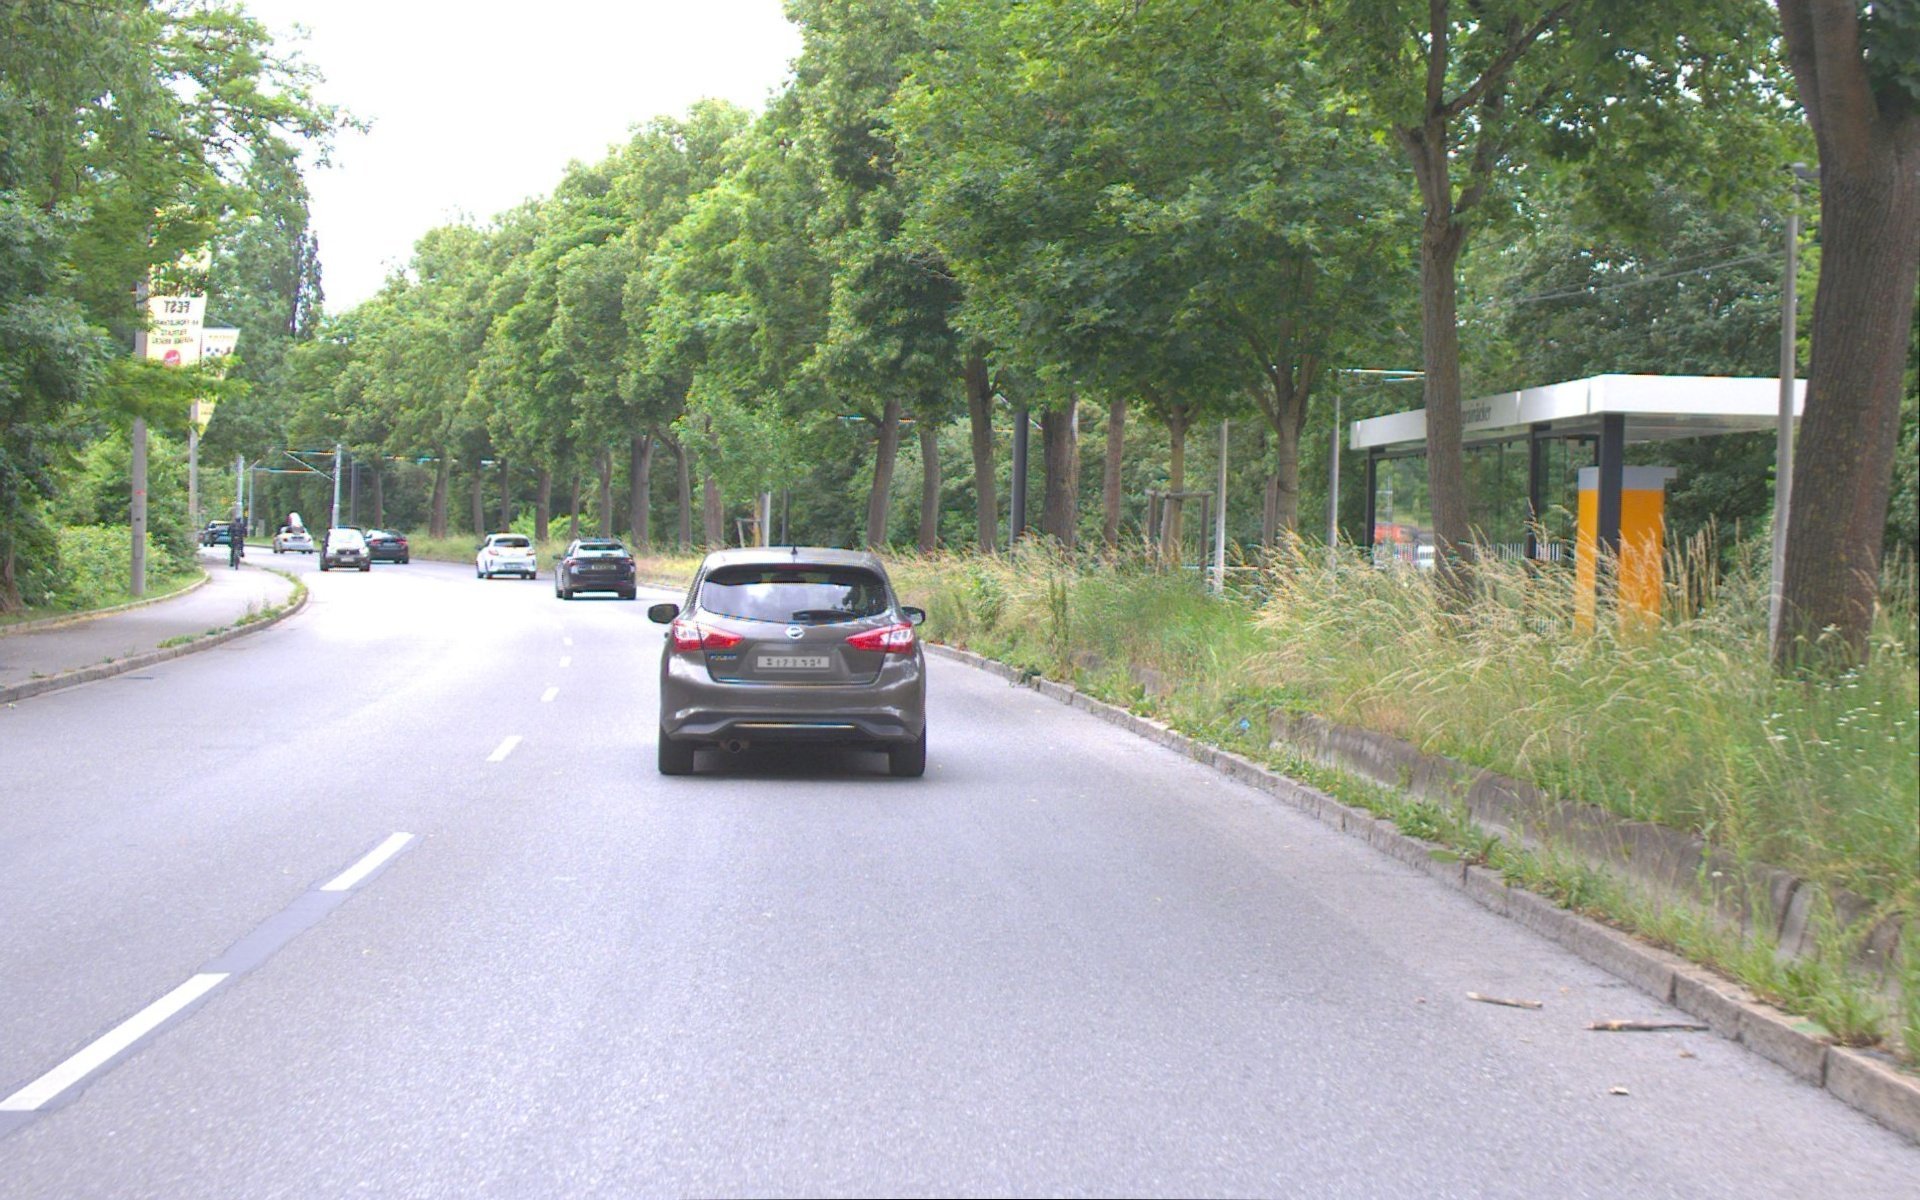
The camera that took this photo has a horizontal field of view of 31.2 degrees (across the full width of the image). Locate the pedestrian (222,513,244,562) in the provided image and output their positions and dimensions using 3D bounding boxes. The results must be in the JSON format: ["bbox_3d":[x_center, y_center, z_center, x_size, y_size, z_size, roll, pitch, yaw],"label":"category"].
[{"bbox_3d":[-23.958,-2.073,113.344,0.617,1.566,0.849,3,1,-13],"label":"pedestrian"}]

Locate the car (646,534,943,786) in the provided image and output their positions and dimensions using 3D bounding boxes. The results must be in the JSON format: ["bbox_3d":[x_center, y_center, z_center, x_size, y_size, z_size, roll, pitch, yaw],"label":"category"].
[{"bbox_3d":[-1.229,0.347,23.793,1.815,1.503,4.001,1,2,-6],"label":"car"}]

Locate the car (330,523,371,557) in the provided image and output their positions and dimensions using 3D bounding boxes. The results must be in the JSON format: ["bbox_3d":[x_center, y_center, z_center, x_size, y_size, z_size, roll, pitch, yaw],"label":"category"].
[{"bbox_3d":[-28.656,-2.831,161.697,1.775,1.467,4.001,2,2,-9],"label":"car"}]

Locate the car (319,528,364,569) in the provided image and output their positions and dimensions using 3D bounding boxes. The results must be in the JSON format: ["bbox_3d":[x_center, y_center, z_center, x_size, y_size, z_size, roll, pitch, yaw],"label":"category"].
[{"bbox_3d":[-22.672,-1.898,126.051,1.595,1.500,3.029,0,1,-10],"label":"car"}]

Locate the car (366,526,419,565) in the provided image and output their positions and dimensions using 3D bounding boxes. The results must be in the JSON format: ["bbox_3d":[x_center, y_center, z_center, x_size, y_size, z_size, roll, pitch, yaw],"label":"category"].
[{"bbox_3d":[-24.373,-2.352,147.584,1.775,1.467,4.002,3,1,-15],"label":"car"}]

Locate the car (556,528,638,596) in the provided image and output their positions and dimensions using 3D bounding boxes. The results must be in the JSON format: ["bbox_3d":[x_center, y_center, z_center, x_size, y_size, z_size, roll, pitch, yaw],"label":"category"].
[{"bbox_3d":[-8.881,-0.954,83.971,1.775,1.467,4.001,3,2,-8],"label":"car"}]

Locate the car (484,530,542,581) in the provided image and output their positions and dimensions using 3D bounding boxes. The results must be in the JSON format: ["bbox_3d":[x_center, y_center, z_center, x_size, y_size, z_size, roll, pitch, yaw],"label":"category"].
[{"bbox_3d":[-14.681,-1.474,112.882,1.775,1.467,4.001,3,2,-7],"label":"car"}]

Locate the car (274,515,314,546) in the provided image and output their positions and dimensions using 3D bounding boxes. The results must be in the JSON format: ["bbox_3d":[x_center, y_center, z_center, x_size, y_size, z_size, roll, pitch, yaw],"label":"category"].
[{"bbox_3d":[-35.281,-3.677,182.034,1.775,1.467,4.002,3,2,-15],"label":"car"}]

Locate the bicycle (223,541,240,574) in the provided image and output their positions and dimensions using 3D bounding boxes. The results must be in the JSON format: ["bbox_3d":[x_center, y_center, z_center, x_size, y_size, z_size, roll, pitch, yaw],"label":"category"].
[{"bbox_3d":[-24.013,-1.405,113.332,0.488,1.027,1.125,3,1,-13],"label":"bicycle"}]

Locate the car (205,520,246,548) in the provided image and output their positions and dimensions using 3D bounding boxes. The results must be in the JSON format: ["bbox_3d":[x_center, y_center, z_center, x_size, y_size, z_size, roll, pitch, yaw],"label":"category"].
[{"bbox_3d":[-44.600,-3.996,208.663,1.775,1.467,4.002,3,2,-20],"label":"car"}]
